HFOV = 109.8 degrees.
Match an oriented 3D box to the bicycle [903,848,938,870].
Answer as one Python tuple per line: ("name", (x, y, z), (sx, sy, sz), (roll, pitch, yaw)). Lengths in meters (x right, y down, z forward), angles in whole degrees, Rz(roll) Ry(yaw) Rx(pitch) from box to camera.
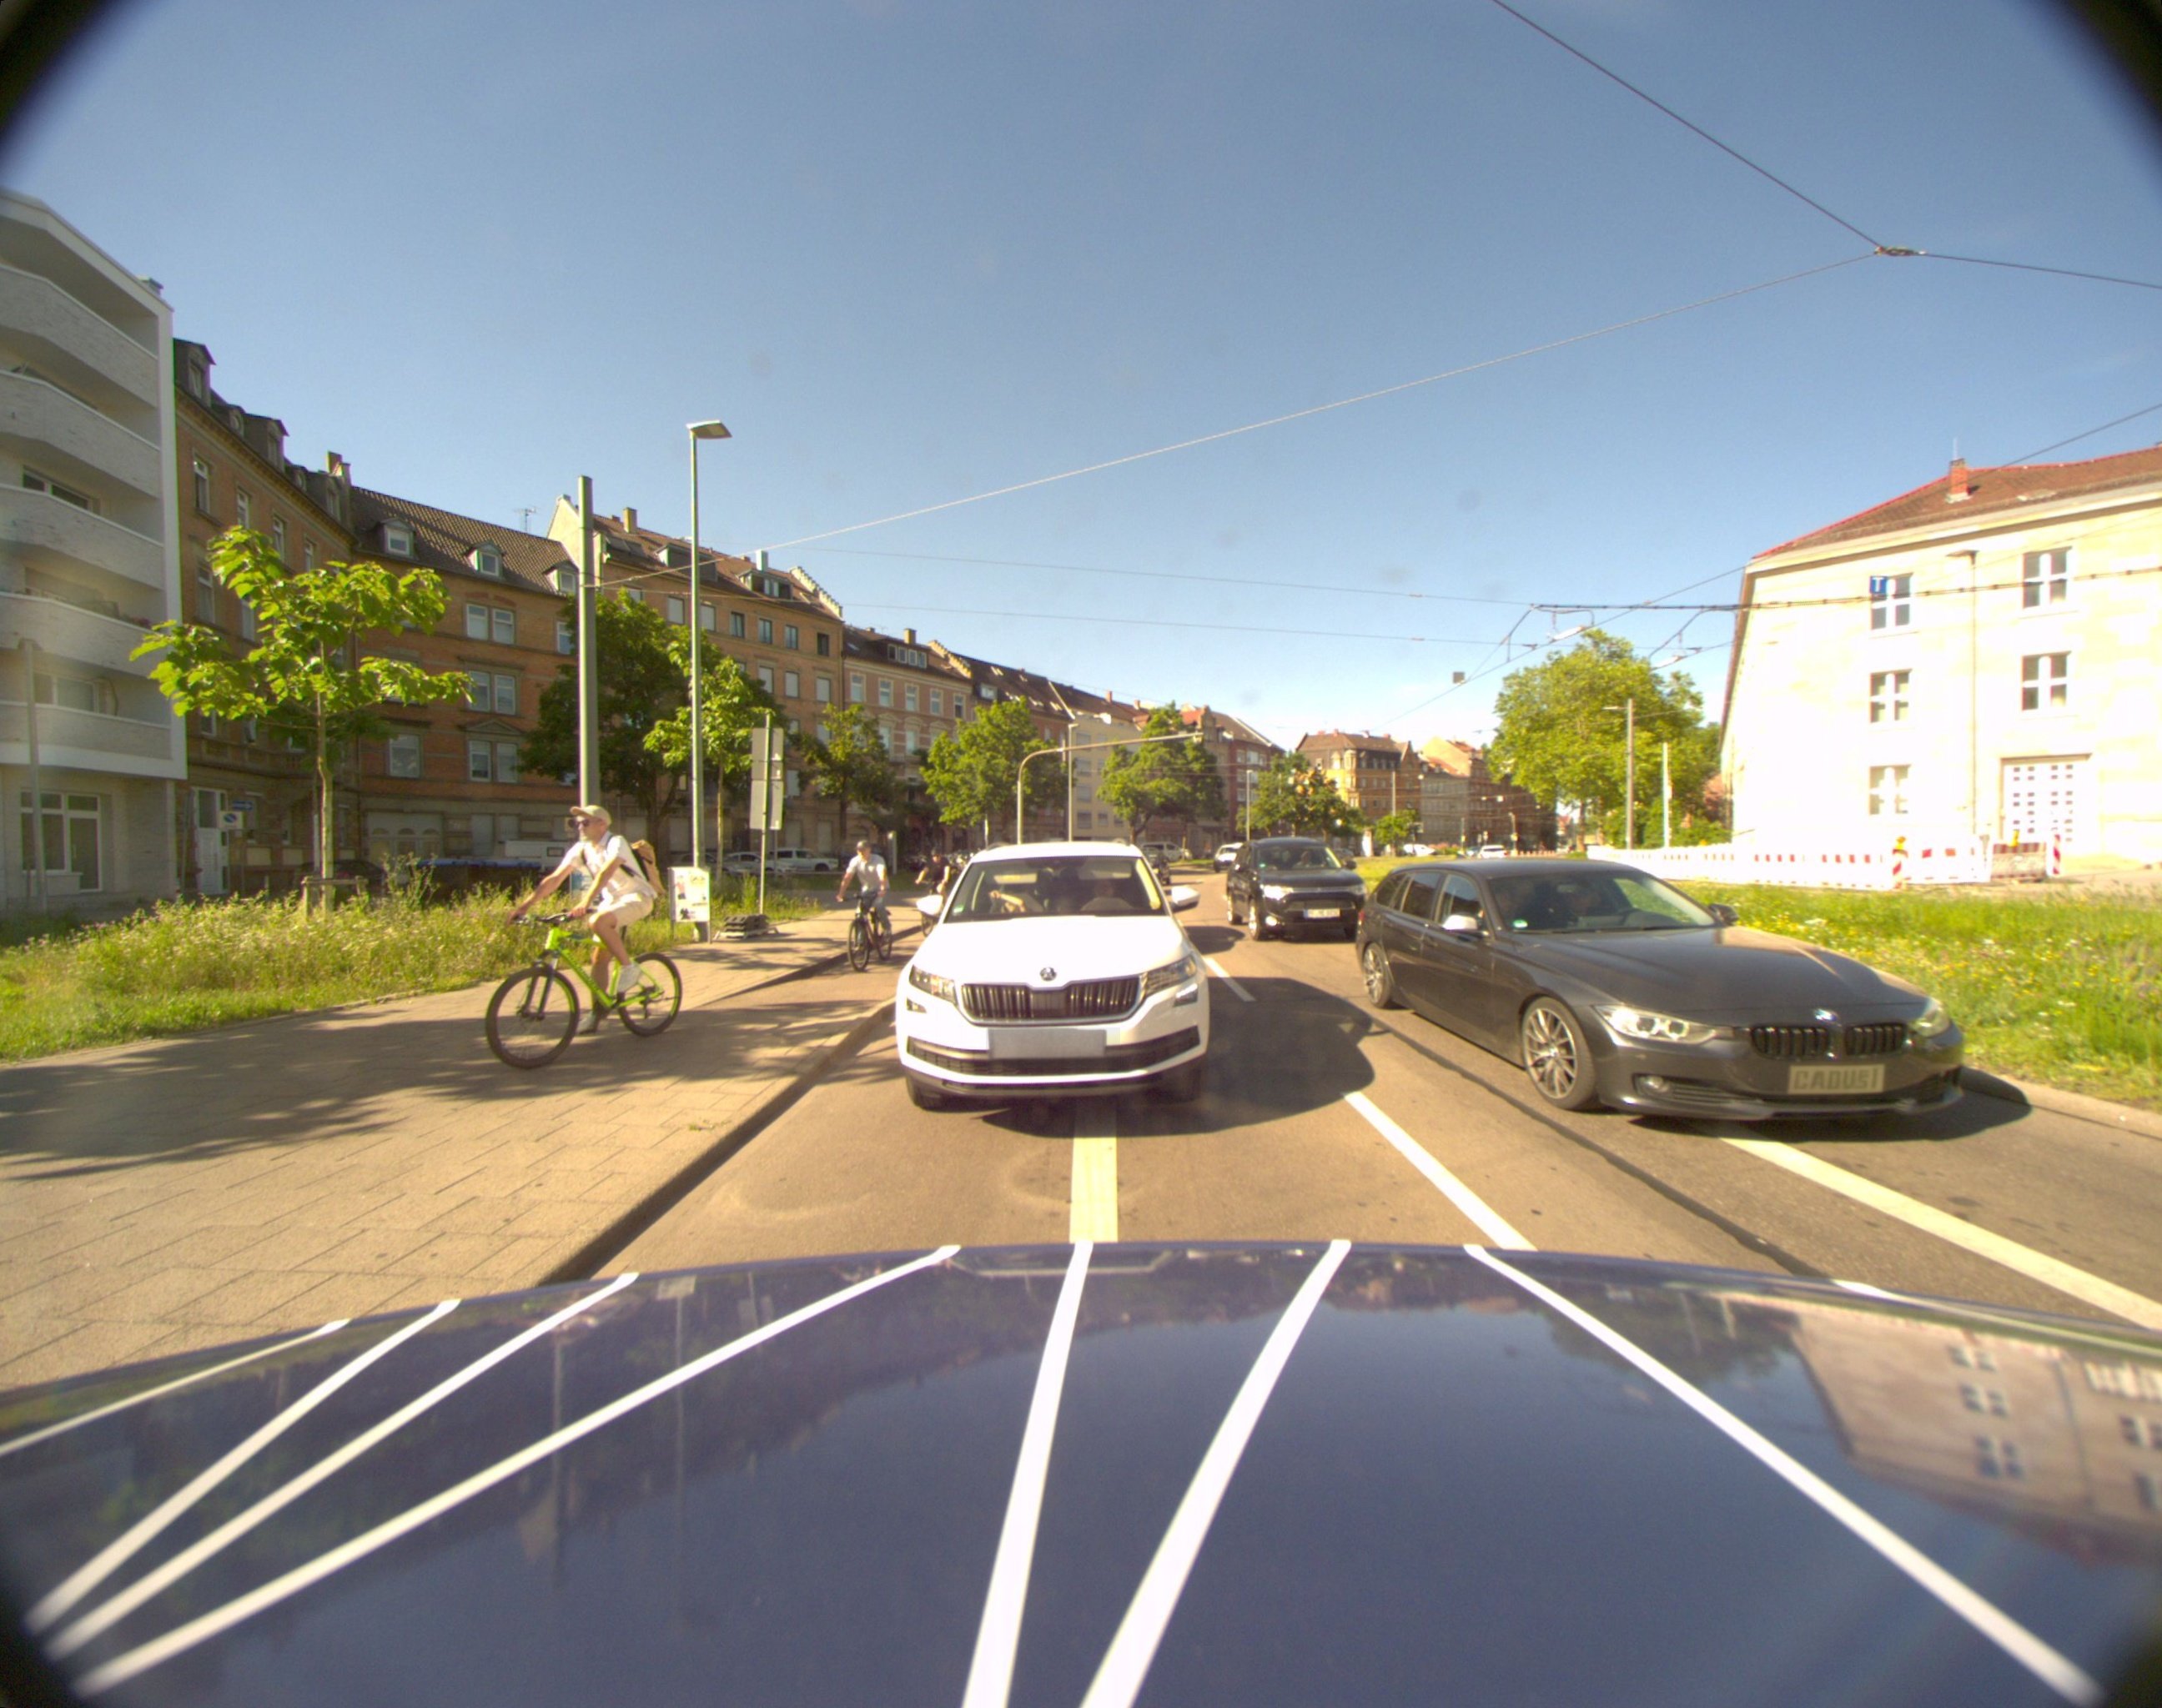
("bicycle", (-9.708, 0.295, 46.009), (2.198, 1.260, 0.664), (-2, 1, 32))

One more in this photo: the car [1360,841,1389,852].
("car", (47.307, -1.218, 122.309), (4.058, 1.647, 1.770), (1, 2, 34))

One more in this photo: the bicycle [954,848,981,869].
("bicycle", (-7.124, 0.309, 47.754), (0.664, 1.260, 2.199), (-3, 1, -36))

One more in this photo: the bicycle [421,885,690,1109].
("bicycle", (-3.759, 0.934, 5.651), (0.716, 1.319, 1.749), (1, 0, 3))

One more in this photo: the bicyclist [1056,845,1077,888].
("bicyclist", (-0.559, 0.480, 29.835), (0.668, 1.619, 0.972), (-1, 1, 6))

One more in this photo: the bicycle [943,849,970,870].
("bicycle", (-7.687, 0.341, 46.760), (0.664, 1.260, 2.199), (-3, 1, -36))

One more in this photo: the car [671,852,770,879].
("car", (-17.502, 0.534, 36.907), (4.156, 1.244, 1.683), (0, 1, 13))

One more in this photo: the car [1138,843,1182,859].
("car", (7.124, -0.247, 68.179), (3.823, 1.372, 1.600), (0, 1, 9))

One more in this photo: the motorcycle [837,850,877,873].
("motorcycle", (-13.291, 0.439, 45.020), (2.314, 1.270, 0.664), (-2, 1, 24))

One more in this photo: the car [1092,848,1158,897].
("car", (1.641, 0.600, 26.957), (1.838, 1.543, 4.151), (0, 1, 10))

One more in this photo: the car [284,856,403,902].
("car", (-26.170, 0.829, 27.148), (1.835, 1.419, 4.378), (-1, 1, -27))

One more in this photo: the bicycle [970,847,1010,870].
("bicycle", (-5.477, 0.268, 45.740), (2.207, 1.260, 0.662), (-3, 1, -25))

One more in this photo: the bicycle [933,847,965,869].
("bicycle", (-7.731, 0.241, 44.518), (0.664, 1.260, 2.198), (-3, 1, -45))

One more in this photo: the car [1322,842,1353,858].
("car", (24.745, -0.448, 73.303), (1.836, 1.464, 4.722), (1, 1, 31))

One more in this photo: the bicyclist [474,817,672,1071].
("bicyclist", (-3.741, 0.608, 5.693), (0.716, 1.715, 1.094), (1, 1, 3))

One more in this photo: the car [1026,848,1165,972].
("car", (0.233, 0.764, 12.608), (1.842, 1.636, 4.397), (-2, 0, 1))

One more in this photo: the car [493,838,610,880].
("car", (-27.120, 0.216, 39.010), (2.047, 2.026, 4.510), (1, 2, 41))

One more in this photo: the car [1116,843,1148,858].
("car", (5.467, -0.421, 80.728), (1.547, 1.578, 3.607), (1, 2, 41))

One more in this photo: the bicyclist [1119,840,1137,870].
("bicyclist", (2.654, 0.035, 43.096), (0.734, 1.685, 0.973), (0, 1, 22))

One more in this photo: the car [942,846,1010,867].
("car", (-7.045, 0.176, 51.296), (4.322, 1.398, 1.682), (0, 1, 3))

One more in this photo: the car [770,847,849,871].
("car", (-14.682, 0.256, 41.195), (3.700, 1.244, 1.540), (0, 1, 2))

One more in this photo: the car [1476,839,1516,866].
("car", (26.619, -0.131, 48.821), (1.821, 1.636, 4.188), (-1, 0, 23))

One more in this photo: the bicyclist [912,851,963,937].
("bicyclist", (-2.822, 0.760, 14.989), (0.630, 1.619, 0.972), (-1, 1, 13))

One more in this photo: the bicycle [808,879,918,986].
("bicycle", (-3.091, 1.068, 11.033), (0.758, 1.293, 2.155), (-1, 1, 6))

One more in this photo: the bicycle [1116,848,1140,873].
("bicycle", (2.688, 0.362, 43.137), (0.735, 1.353, 2.078), (0, 1, 21))

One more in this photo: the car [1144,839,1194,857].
("car", (8.196, -0.587, 70.609), (4.578, 1.658, 1.600), (0, 1, 7))

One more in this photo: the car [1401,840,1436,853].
("car", (51.753, -1.133, 116.559), (4.578, 1.864, 2.004), (-2, 1, 33))

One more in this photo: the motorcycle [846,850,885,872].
("motorcycle", (-12.942, 0.415, 45.625), (2.314, 1.276, 0.664), (-2, 1, 24))

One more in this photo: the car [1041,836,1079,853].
("car", (-1.941, -0.941, 71.666), (1.547, 1.578, 3.607), (1, 2, 41))

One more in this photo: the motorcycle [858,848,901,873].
("motorcycle", (-11.180, 0.375, 42.207), (2.200, 1.322, 0.663), (-2, 1, 13))

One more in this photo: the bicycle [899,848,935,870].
("bicycle", (-9.744, 0.307, 45.071), (2.198, 1.260, 0.664), (-2, 1, 30))

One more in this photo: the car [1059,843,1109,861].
("car", (0.259, -0.159, 61.165), (3.823, 1.398, 1.600), (0, 1, 6))

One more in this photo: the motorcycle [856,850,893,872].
("motorcycle", (-12.604, 0.402, 46.405), (2.199, 1.260, 0.664), (-2, 1, 24))

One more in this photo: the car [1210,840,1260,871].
("car", (11.042, 0.074, 54.272), (1.978, 2.074, 4.722), (1, 1, 31))

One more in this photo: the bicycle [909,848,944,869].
("bicycle", (-9.512, 0.280, 46.712), (2.198, 1.260, 0.664), (-2, 1, 32))

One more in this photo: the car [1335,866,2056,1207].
("car", (3.476, 0.852, 5.595), (1.741, 1.359, 4.426), (-2, 0, 1))

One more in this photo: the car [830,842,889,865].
("car", (-15.612, -0.056, 53.671), (1.547, 1.578, 3.709), (1, 2, 41))

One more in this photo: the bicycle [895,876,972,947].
("bicycle", (-2.842, 1.074, 14.880), (0.637, 1.190, 2.156), (-1, 1, 13))

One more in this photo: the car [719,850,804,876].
("car", (-16.409, 0.440, 39.106), (3.696, 1.244, 1.683), (0, 1, 13))

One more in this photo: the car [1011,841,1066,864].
("car", (-3.109, -0.136, 56.104), (3.825, 1.698, 1.682), (0, 1, 3))

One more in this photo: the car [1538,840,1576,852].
("car", (64.466, -1.119, 102.934), (4.062, 1.647, 1.768), (0, 1, 17))

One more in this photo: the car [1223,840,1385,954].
("car", (3.695, 0.628, 13.399), (1.841, 1.636, 4.399), (-2, 0, 5))

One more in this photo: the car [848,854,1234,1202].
("car", (-0.230, 0.856, 5.950), (1.842, 1.636, 4.397), (-2, 0, -1))

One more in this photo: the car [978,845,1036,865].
("car", (-5.229, 0.088, 53.965), (3.822, 1.398, 1.683), (0, 1, 9))

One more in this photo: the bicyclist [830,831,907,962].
("bicyclist", (-3.079, 0.593, 11.095), (0.809, 1.855, 0.749), (-1, 2, 6))

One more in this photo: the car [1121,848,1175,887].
("car", (3.121, 0.558, 34.866), (1.837, 1.637, 4.152), (0, 1, 14))

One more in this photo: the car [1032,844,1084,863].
("car", (-1.771, -0.050, 58.537), (3.823, 1.398, 1.600), (0, 1, 6))

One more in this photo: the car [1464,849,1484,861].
("car", (57.585, 0.105, 111.260), (1.835, 1.637, 4.157), (1, 2, 40))

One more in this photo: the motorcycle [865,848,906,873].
("motorcycle", (-11.150, 0.358, 43.294), (2.200, 1.315, 0.664), (-2, 1, 18))

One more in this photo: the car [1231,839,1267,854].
("car", (18.693, -0.818, 84.659), (3.823, 1.581, 1.600), (0, 1, 6))
